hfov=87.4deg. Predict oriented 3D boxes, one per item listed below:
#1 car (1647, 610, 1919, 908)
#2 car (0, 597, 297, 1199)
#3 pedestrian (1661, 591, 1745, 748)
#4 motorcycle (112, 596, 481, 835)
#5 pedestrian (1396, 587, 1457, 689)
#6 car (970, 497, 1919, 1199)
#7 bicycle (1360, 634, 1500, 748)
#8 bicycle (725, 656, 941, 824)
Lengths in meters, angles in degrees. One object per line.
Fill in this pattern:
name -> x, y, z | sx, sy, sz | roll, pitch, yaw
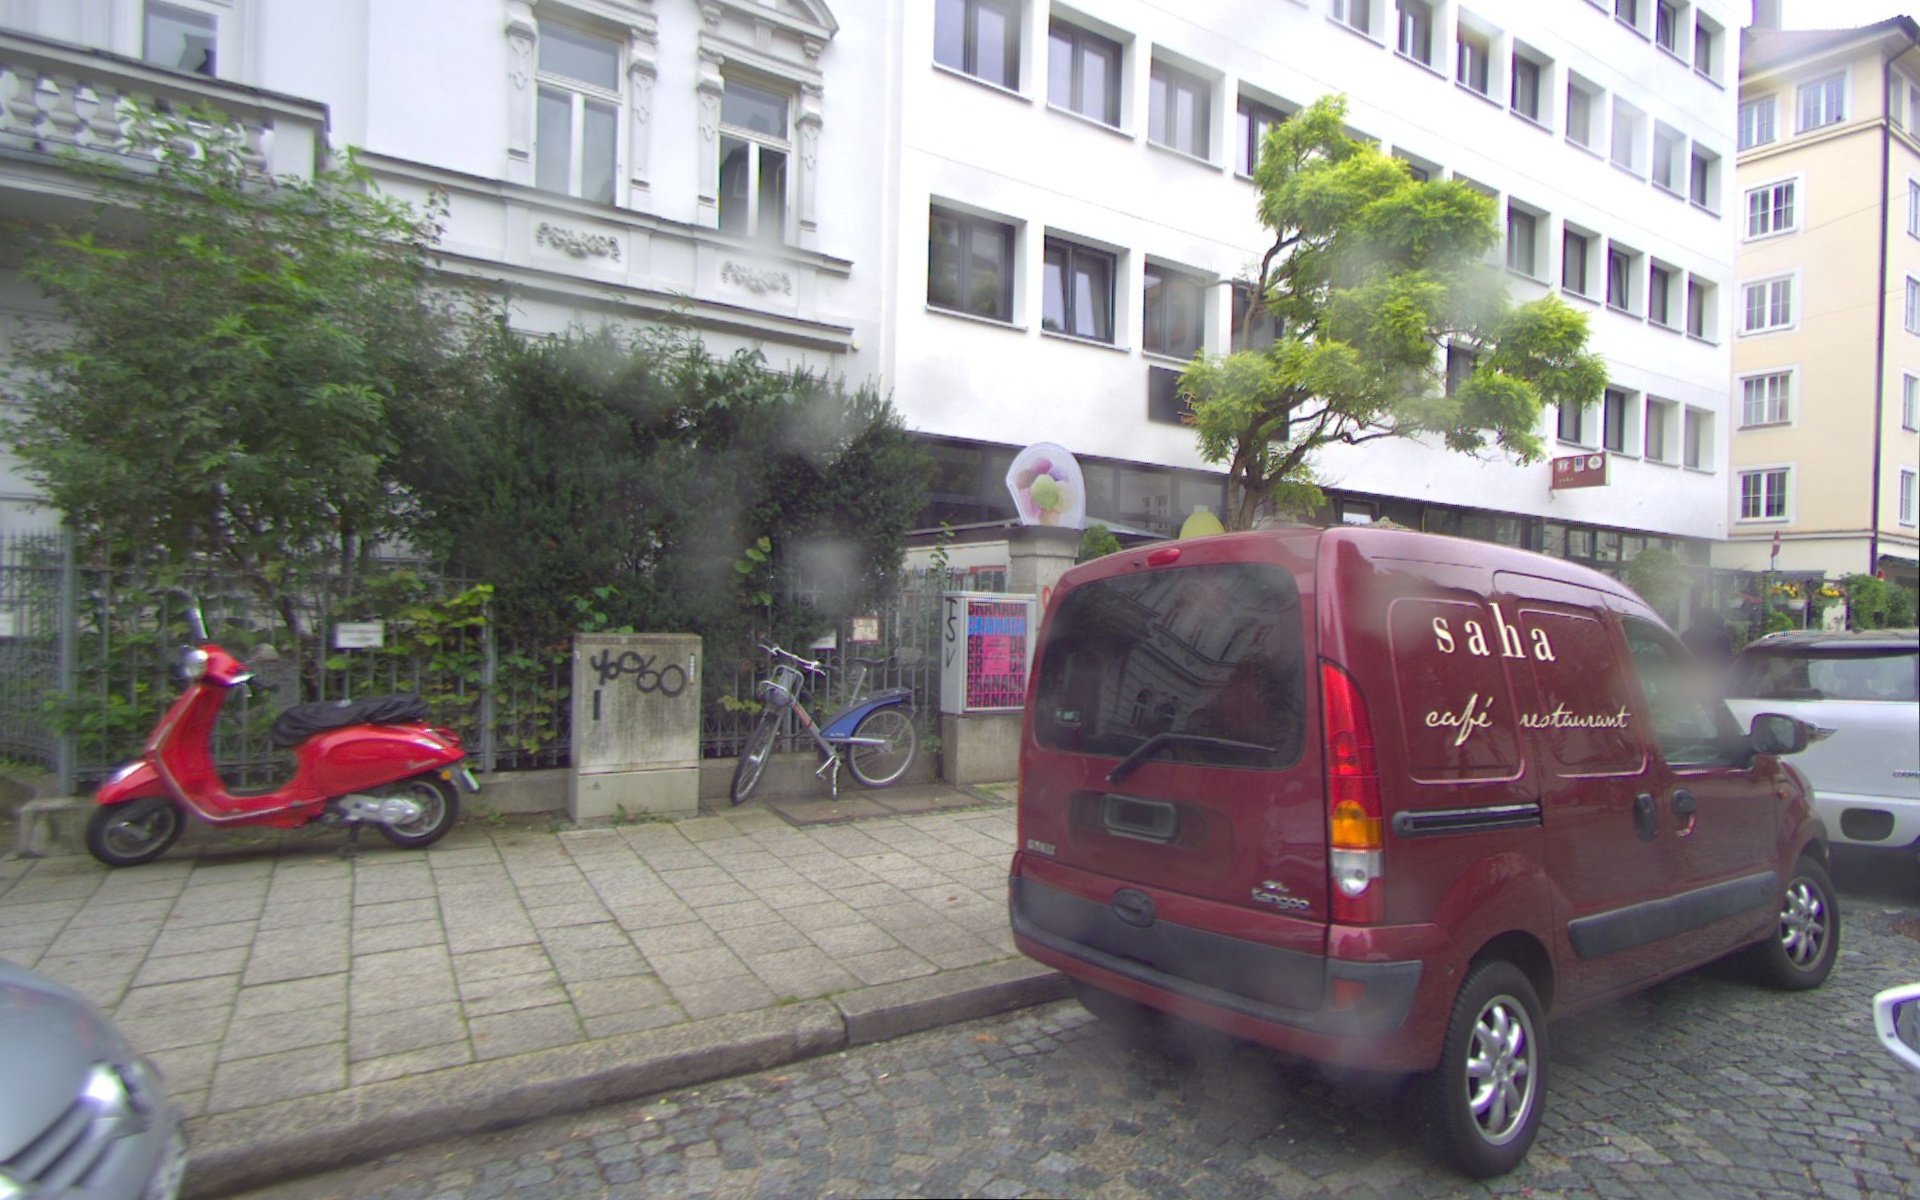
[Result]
car -> 6.422, 0.896, 6.556 | 3.731, 1.524, 1.686 | 2, 0, -29
car -> -2.904, 0.668, 0.911 | 3.776, 1.412, 1.622 | 2, 0, -33
pedestrian -> 9.185, 0.832, 12.417 | 0.806, 1.865, 0.609 | 2, 0, -38
motorcycle -> -3.505, 0.606, 5.410 | 1.598, 1.195, 0.330 | 2, 0, -16
pedestrian -> 8.002, 0.636, 17.252 | 0.774, 1.683, 0.553 | 0, 3, -29
car -> 2.126, 0.704, 4.103 | 3.855, 1.746, 1.708 | 2, -2, -32
bicycle -> 5.262, 0.992, 11.199 | 1.888, 1.190, 0.359 | 2, 0, -30
bicycle -> -0.903, 0.990, 7.467 | 1.669, 1.093, 0.255 | 1, 1, -36
